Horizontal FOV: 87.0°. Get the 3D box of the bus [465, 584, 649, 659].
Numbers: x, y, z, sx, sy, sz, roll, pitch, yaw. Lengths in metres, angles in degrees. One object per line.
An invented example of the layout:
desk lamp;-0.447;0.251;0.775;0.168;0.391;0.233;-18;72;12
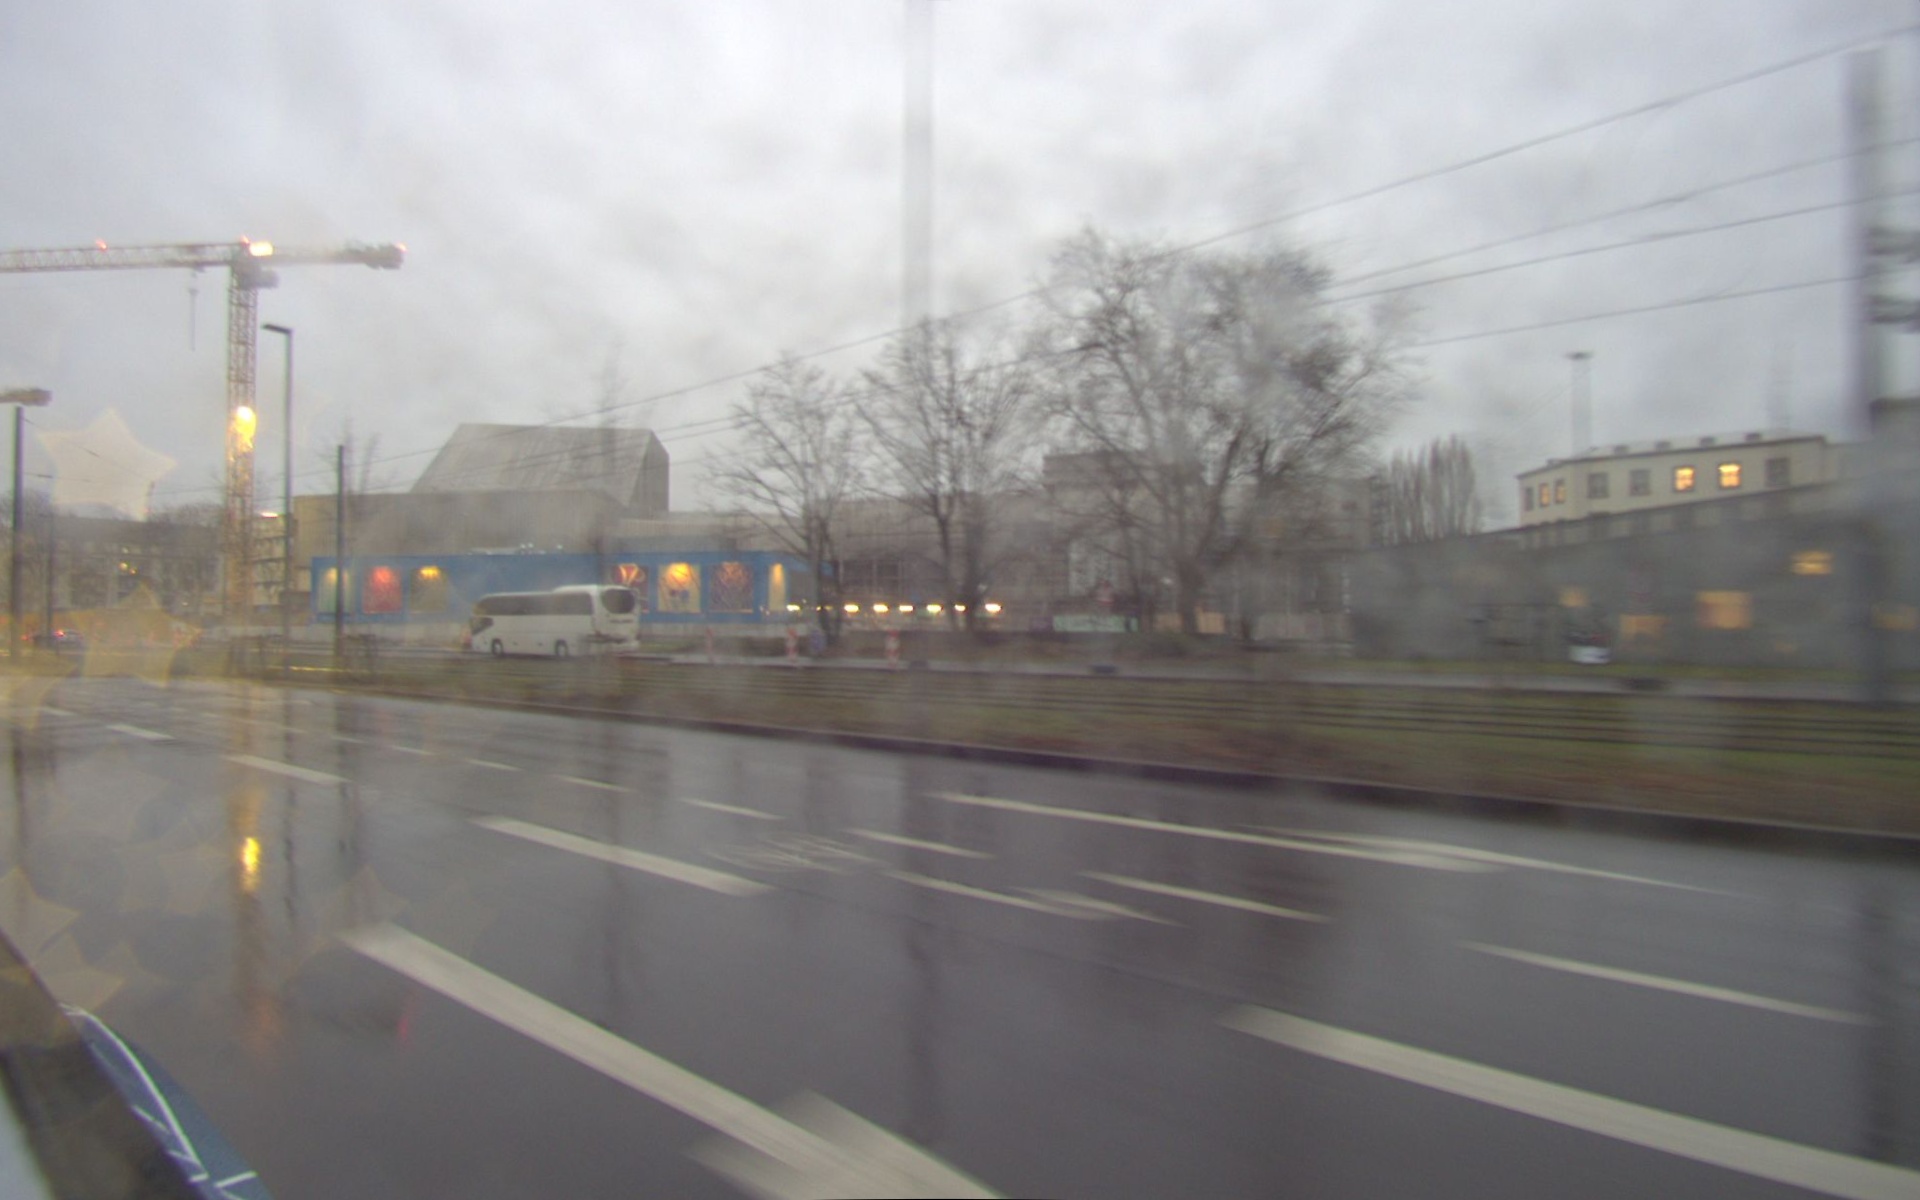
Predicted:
bus;-21.309;1.161;52.979;12.279;3.605;2.782;-1;-2;36
